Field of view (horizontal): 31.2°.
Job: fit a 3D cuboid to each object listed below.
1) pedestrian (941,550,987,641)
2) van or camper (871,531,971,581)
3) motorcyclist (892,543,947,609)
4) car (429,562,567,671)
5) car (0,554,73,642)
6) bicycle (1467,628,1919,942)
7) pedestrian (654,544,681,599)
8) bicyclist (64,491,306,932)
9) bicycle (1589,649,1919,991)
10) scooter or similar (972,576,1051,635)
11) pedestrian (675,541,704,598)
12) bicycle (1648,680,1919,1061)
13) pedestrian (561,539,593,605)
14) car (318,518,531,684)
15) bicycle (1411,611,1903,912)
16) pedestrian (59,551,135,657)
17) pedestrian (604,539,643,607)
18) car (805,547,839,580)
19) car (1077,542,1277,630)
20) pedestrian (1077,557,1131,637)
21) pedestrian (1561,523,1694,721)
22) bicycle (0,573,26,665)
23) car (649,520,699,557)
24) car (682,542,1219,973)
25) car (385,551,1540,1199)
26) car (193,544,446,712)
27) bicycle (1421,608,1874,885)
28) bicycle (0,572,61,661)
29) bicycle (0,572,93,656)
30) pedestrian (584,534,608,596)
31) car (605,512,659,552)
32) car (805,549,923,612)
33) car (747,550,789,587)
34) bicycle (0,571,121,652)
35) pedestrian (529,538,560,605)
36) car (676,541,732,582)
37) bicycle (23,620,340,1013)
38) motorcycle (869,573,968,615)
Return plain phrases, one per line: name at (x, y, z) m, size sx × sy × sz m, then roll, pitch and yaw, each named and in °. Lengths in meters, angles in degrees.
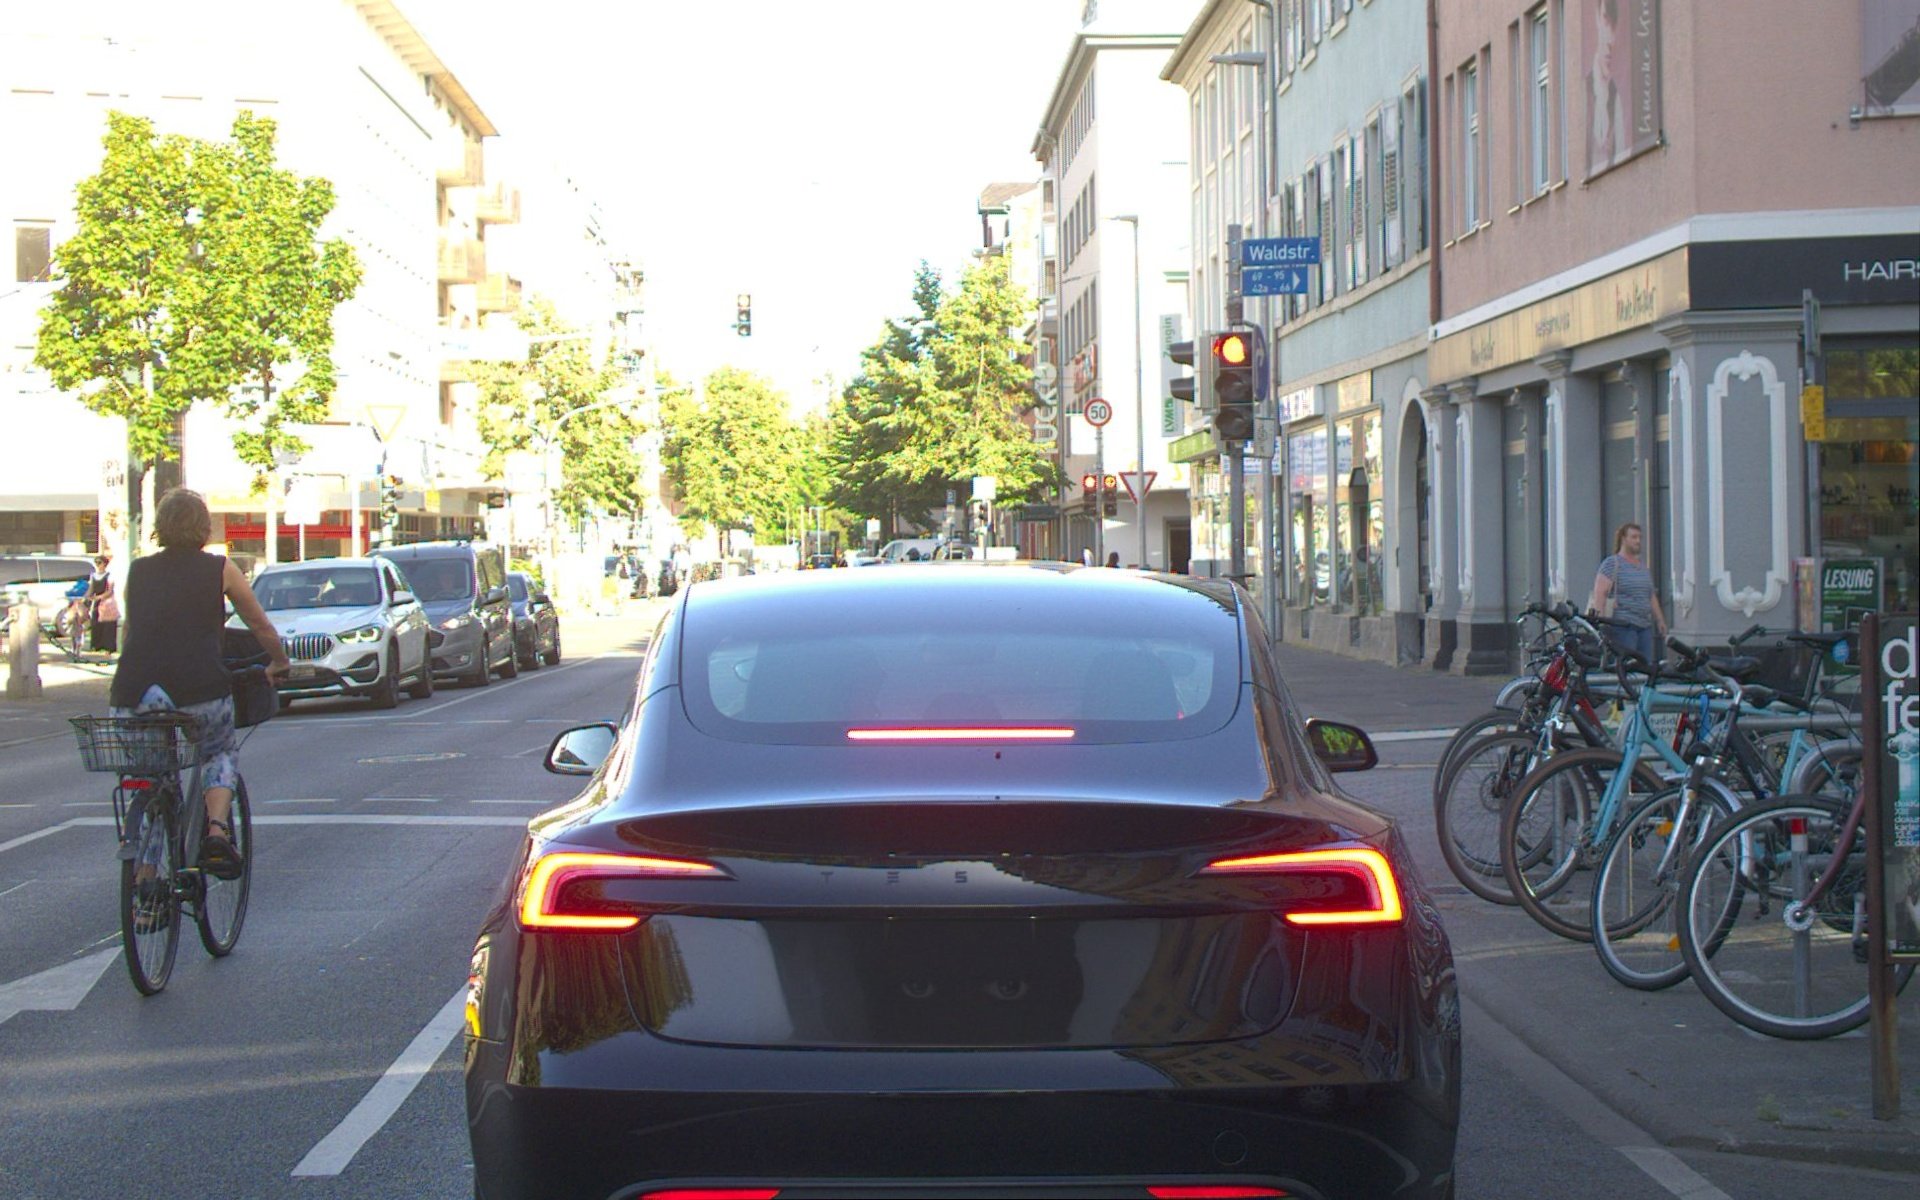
pedestrian at (0.077, -0.092, 67.184) m, size 0.658 × 1.754 × 0.654 m, roll 1°, pitch 0°, yaw -24°
van or camper at (-1.903, -2.131, 167.546) m, size 4.850 × 2.430 × 1.851 m, roll 0°, pitch 1°, yaw -1°
motorcyclist at (-1.005, -0.594, 85.242) m, size 1.109 × 1.627 × 0.776 m, roll 1°, pitch 0°, yaw -30°
car at (-6.655, 0.209, 49.795) m, size 1.461 × 1.425 × 3.606 m, roll -4°, pitch 1°, yaw -1°
car at (-21.878, -0.047, 73.981) m, size 5.195 × 1.860 × 1.884 m, roll 0°, pitch 1°, yaw -22°
bicycle at (2.801, 0.660, 12.527) m, size 1.813 × 1.098 × 0.653 m, roll 0°, pitch 1°, yaw 1°
pedestrian at (-9.975, -0.985, 117.240) m, size 0.694 × 1.861 × 0.910 m, roll 1°, pitch 0°, yaw -18°
bicyclist at (-2.705, 0.372, 12.074) m, size 0.606 × 1.479 × 0.958 m, roll 1°, pitch 0°, yaw 1°
bicycle at (3.000, 0.696, 11.120) m, size 1.813 × 1.056 × 0.653 m, roll 0°, pitch 1°, yaw 1°
scooter or similar at (1.014, 0.106, 67.595) m, size 1.333 × 1.131 × 0.810 m, roll 1°, pitch 0°, yaw -24°
pedestrian at (-8.936, -1.011, 113.548) m, size 0.774 × 1.861 × 1.009 m, roll 1°, pitch 0°, yaw -16°
bicycle at (3.026, 0.762, 10.048) m, size 1.882 × 1.040 × 0.653 m, roll -1°, pitch 1°, yaw 1°
pedestrian at (-10.829, -0.795, 97.151) m, size 0.732 × 1.861 × 0.791 m, roll 1°, pitch 0°, yaw -17°
car at (-6.573, -0.031, 42.661) m, size 1.945 × 1.940 × 4.820 m, roll 0°, pitch 1°, yaw -1°
bicycle at (2.731, 0.623, 13.600) m, size 1.813 × 1.148 × 0.653 m, roll 0°, pitch 1°, yaw 1°
pedestrian at (-13.266, 0.051, 52.867) m, size 1.092 × 1.606 × 1.267 m, roll 1°, pitch 0°, yaw -14°
pedestrian at (-9.257, -0.747, 94.504) m, size 0.734 × 1.861 × 0.789 m, roll 1°, pitch 0°, yaw 28°
car at (-7.798, -2.068, 194.497) m, size 1.892 × 1.807 × 3.925 m, roll 1°, pitch 1°, yaw -2°
car at (4.708, -0.321, 74.673) m, size 3.992 × 1.861 × 1.698 m, roll 0°, pitch 1°, yaw -21°
pedestrian at (2.923, -0.064, 69.985) m, size 0.806 × 1.604 × 0.709 m, roll 0°, pitch 1°, yaw -37°
pedestrian at (5.281, 0.171, 27.223) m, size 0.789 × 1.544 × 0.724 m, roll 1°, pitch 0°, yaw -12°
bicycle at (-14.487, 0.240, 47.544) m, size 2.875 × 1.266 × 0.943 m, roll 1°, pitch 0°, yaw -3°
car at (-15.652, -3.353, 188.279) m, size 2.275 × 2.007 × 4.717 m, roll 1°, pitch 1°, yaw 1°
car at (-0.059, 0.528, 14.196) m, size 1.850 × 1.476 × 4.452 m, roll 1°, pitch 1°, yaw -1°
car at (-0.023, 0.632, 7.772) m, size 1.850 × 1.442 × 4.452 m, roll 1°, pitch 1°, yaw -1°
car at (-6.687, 0.259, 36.338) m, size 1.825 × 1.559 × 4.301 m, roll -4°, pitch 1°, yaw -1°
bicycle at (2.923, 0.615, 14.735) m, size 1.813 × 1.148 × 0.653 m, roll 0°, pitch 1°, yaw 1°
bicycle at (-14.489, 0.222, 49.863) m, size 2.662 × 1.255 × 0.943 m, roll 1°, pitch 0°, yaw -3°
bicycle at (-14.534, 0.195, 52.138) m, size 2.542 × 1.247 × 0.943 m, roll 1°, pitch 0°, yaw -3°
pedestrian at (-10.998, -1.070, 103.876) m, size 0.695 × 1.861 × 0.659 m, roll 1°, pitch 0°, yaw -5°
car at (-17.128, -3.533, 179.639) m, size 2.275 × 2.007 × 4.717 m, roll 1°, pitch 1°, yaw 1°
car at (-2.831, -0.587, 100.310) m, size 2.035 × 1.782 × 4.007 m, roll 0°, pitch 1°, yaw -25°
car at (-10.445, -1.739, 187.132) m, size 2.132 × 1.963 × 4.134 m, roll 0°, pitch 1°, yaw -1°
bicycle at (-14.695, 0.168, 54.563) m, size 2.542 × 1.247 × 0.943 m, roll 1°, pitch 0°, yaw -3°
pedestrian at (-11.715, -0.805, 96.877) m, size 0.732 × 1.861 × 0.791 m, roll 1°, pitch 0°, yaw -17°
car at (-12.397, -1.867, 166.449) m, size 2.414 × 1.963 × 4.678 m, roll 0°, pitch 1°, yaw -1°
bicycle at (-2.699, 0.707, 12.122) m, size 0.628 × 1.219 × 2.001 m, roll 1°, pitch 1°, yaw 1°
motorcycle at (-1.033, -0.146, 85.237) m, size 2.378 × 1.032 × 0.783 m, roll 0°, pitch 1°, yaw -31°
